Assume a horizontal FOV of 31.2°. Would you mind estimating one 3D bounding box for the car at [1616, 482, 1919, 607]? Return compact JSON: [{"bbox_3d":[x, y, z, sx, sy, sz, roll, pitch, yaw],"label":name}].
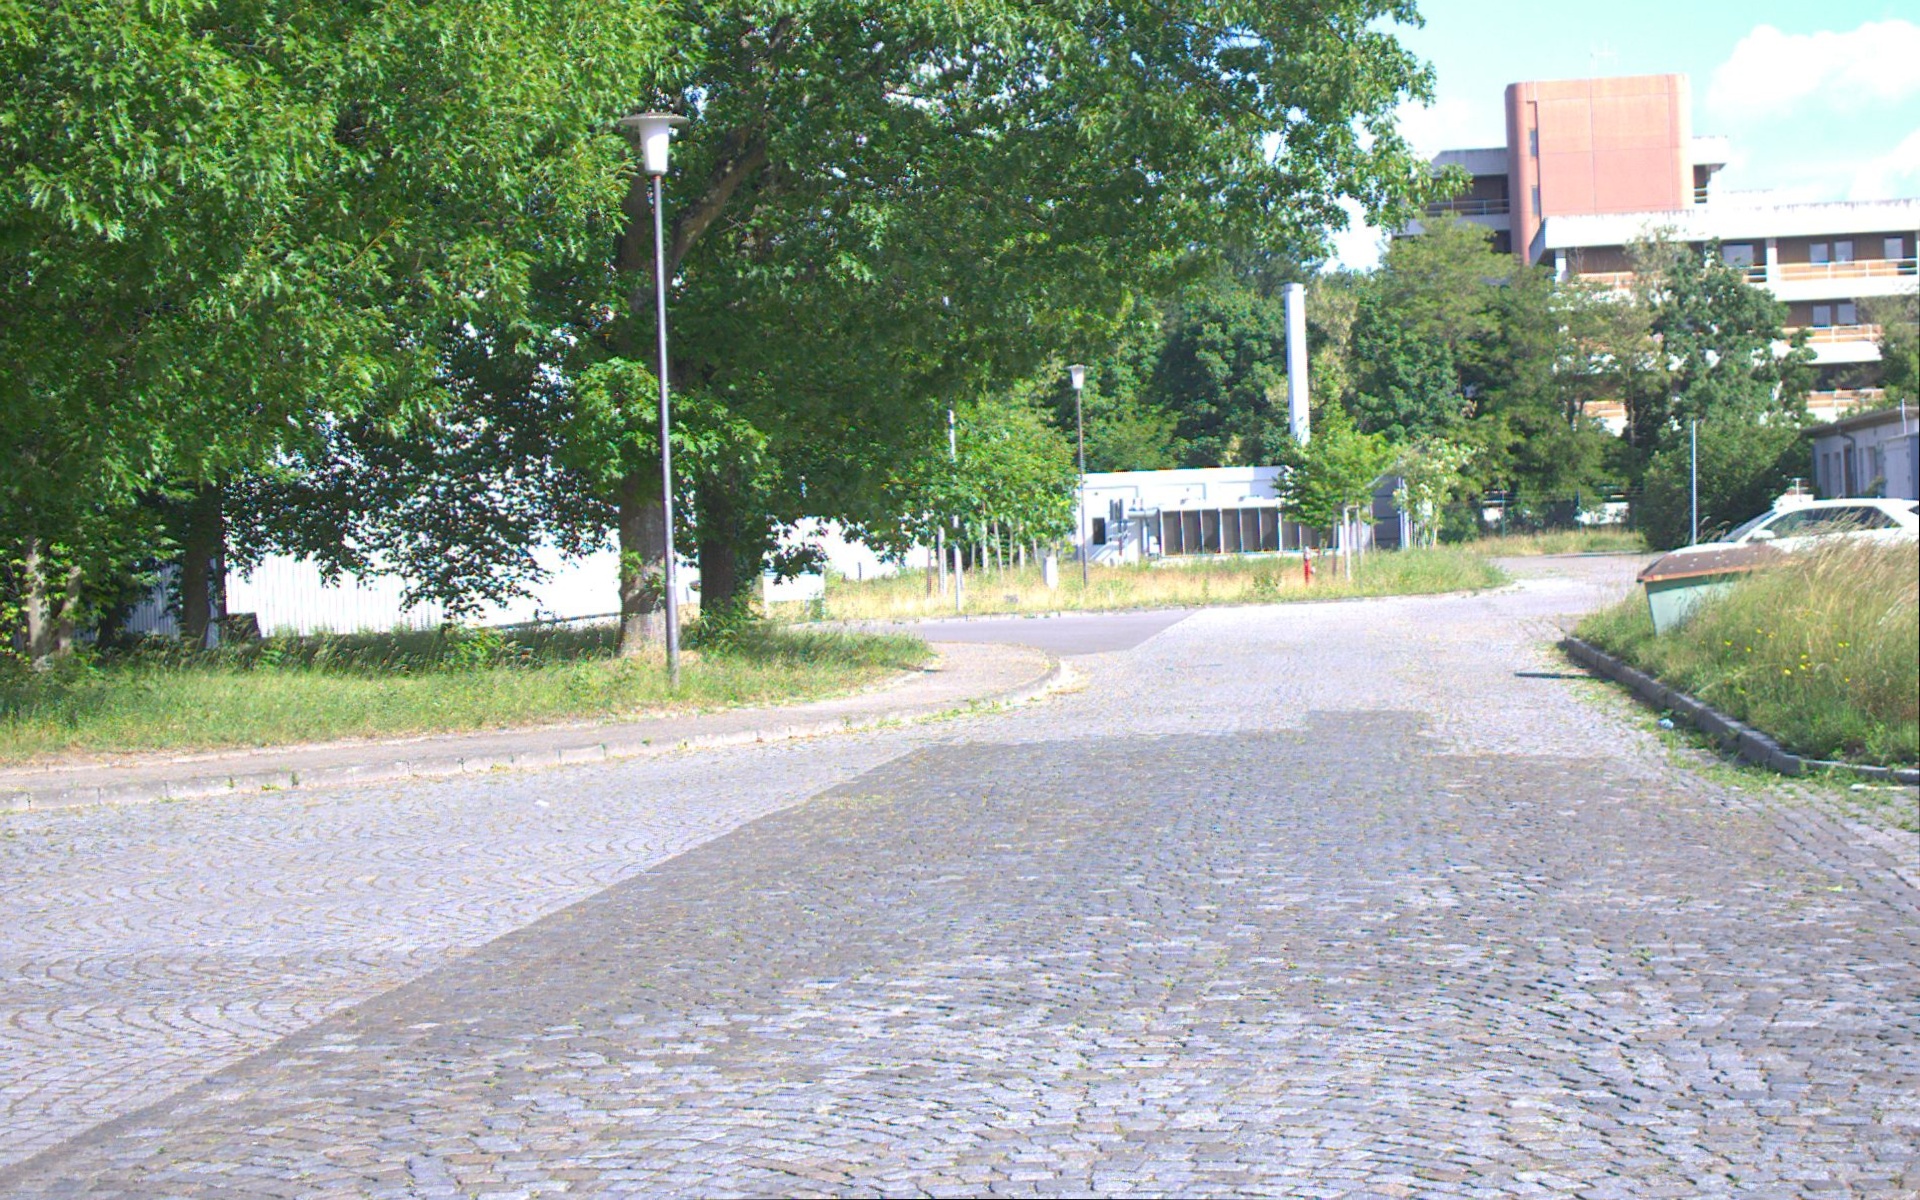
[{"bbox_3d":[12.264,-0.846,51.527,4.589,1.672,1.874,-2,1,7],"label":"car"}]
